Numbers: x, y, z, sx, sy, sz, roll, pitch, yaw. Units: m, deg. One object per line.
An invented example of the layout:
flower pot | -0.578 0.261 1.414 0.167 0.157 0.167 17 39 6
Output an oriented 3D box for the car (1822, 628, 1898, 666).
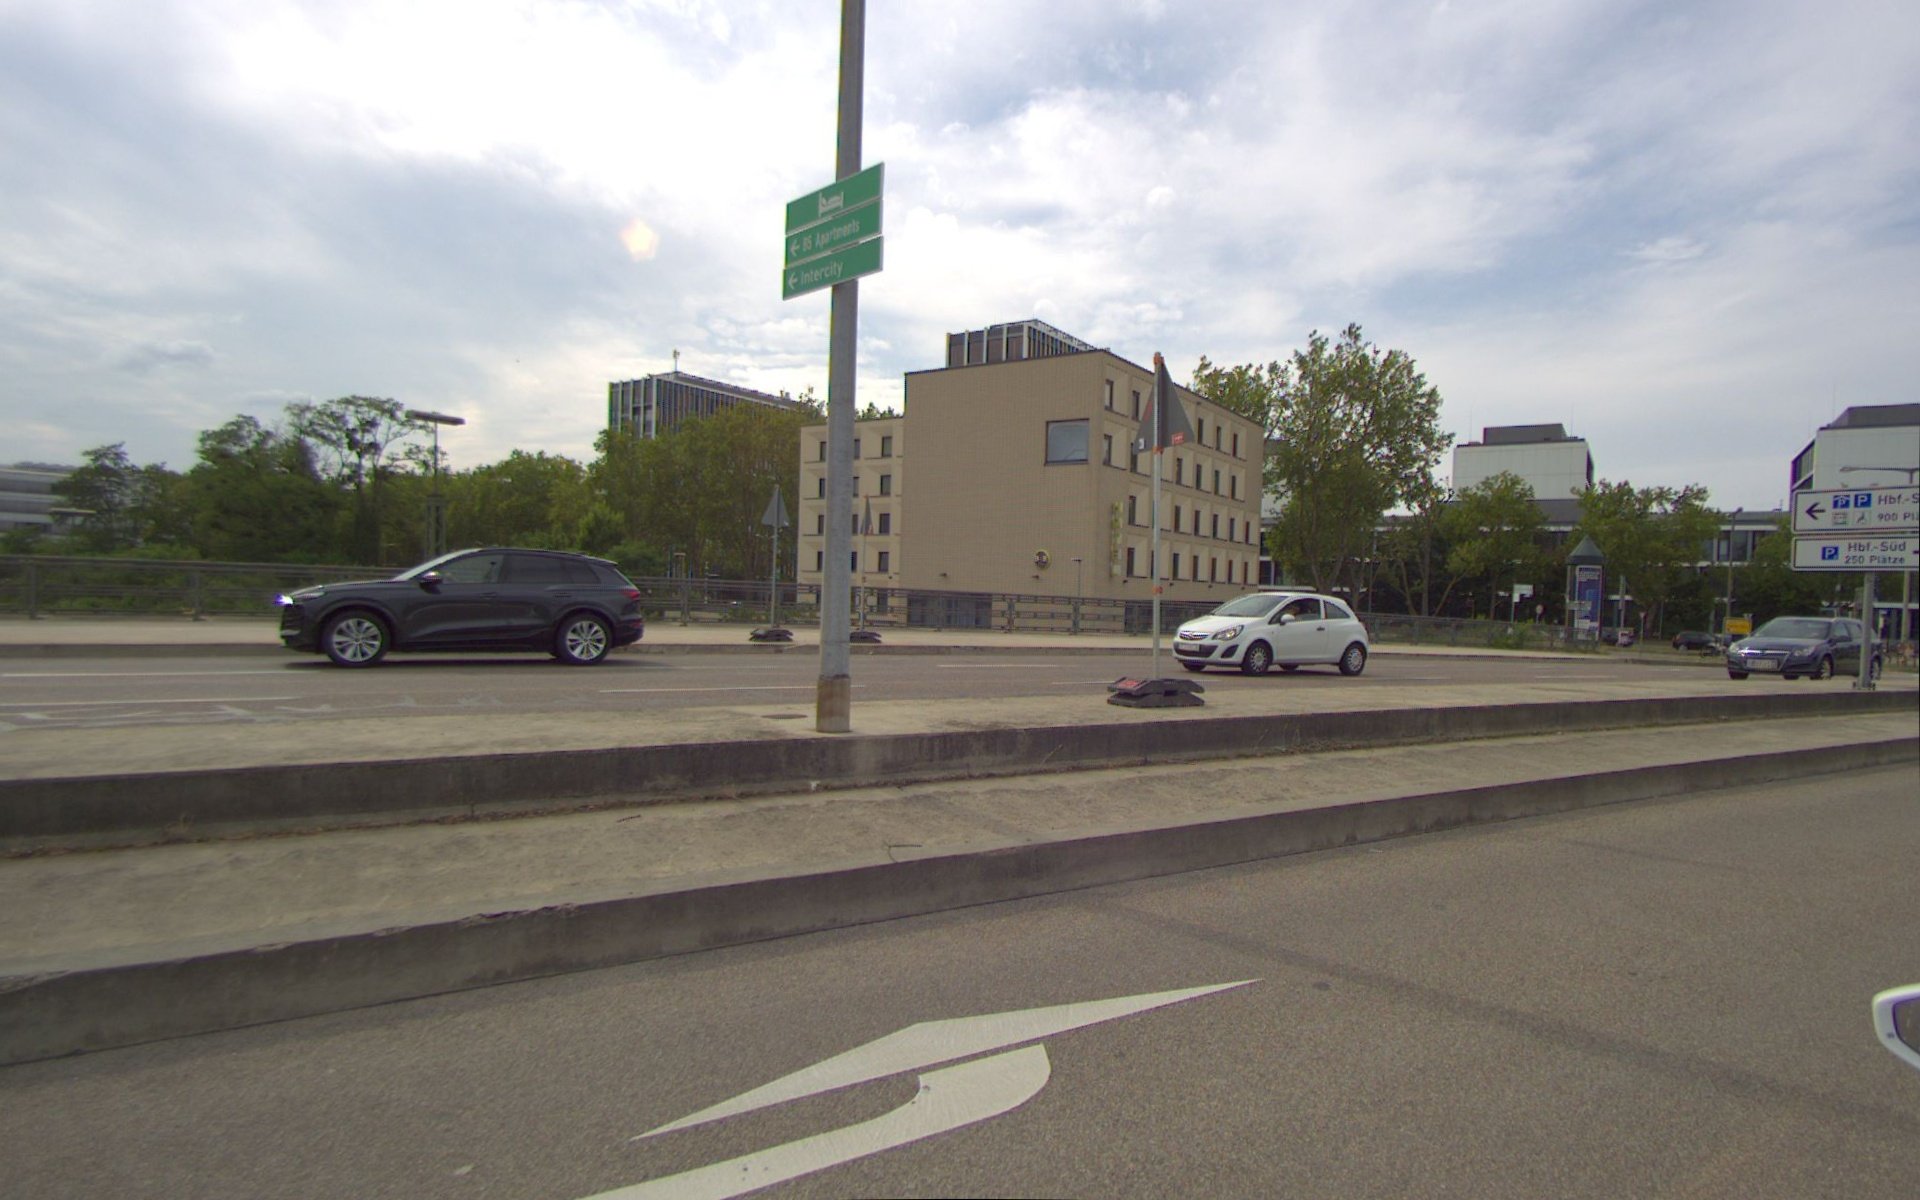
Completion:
car | 41.053 2.107 45.918 1.893 1.547 4.867 1 -1 34

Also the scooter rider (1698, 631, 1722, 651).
scooter rider | 46.413 2.546 62.164 0.898 1.152 0.809 2 1 4

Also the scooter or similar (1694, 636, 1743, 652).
scooter or similar | 46.909 2.719 62.131 2.338 0.861 0.809 2 1 4

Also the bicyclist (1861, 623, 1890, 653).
bicyclist | 53.292 2.217 58.463 0.866 1.678 0.812 2 0 2

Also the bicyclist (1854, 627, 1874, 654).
bicyclist | 54.843 2.432 60.950 0.769 1.602 0.652 3 1 38

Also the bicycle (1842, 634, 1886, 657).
bicycle | 54.848 2.753 60.959 1.877 1.226 0.640 3 1 38

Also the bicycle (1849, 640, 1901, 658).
bicycle | 53.251 2.846 58.465 2.191 0.965 0.812 2 0 3

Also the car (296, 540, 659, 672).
car | -6.918 0.107 14.652 4.495 1.662 1.877 2 1 -32

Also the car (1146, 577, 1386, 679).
car | 5.630 0.499 18.355 4.171 1.662 1.877 2 1 -32

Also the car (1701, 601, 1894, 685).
car | 18.807 0.934 22.516 4.531 1.662 1.877 2 1 -31

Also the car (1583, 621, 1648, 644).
car | 49.074 2.446 75.249 4.002 1.470 1.697 3 0 35
